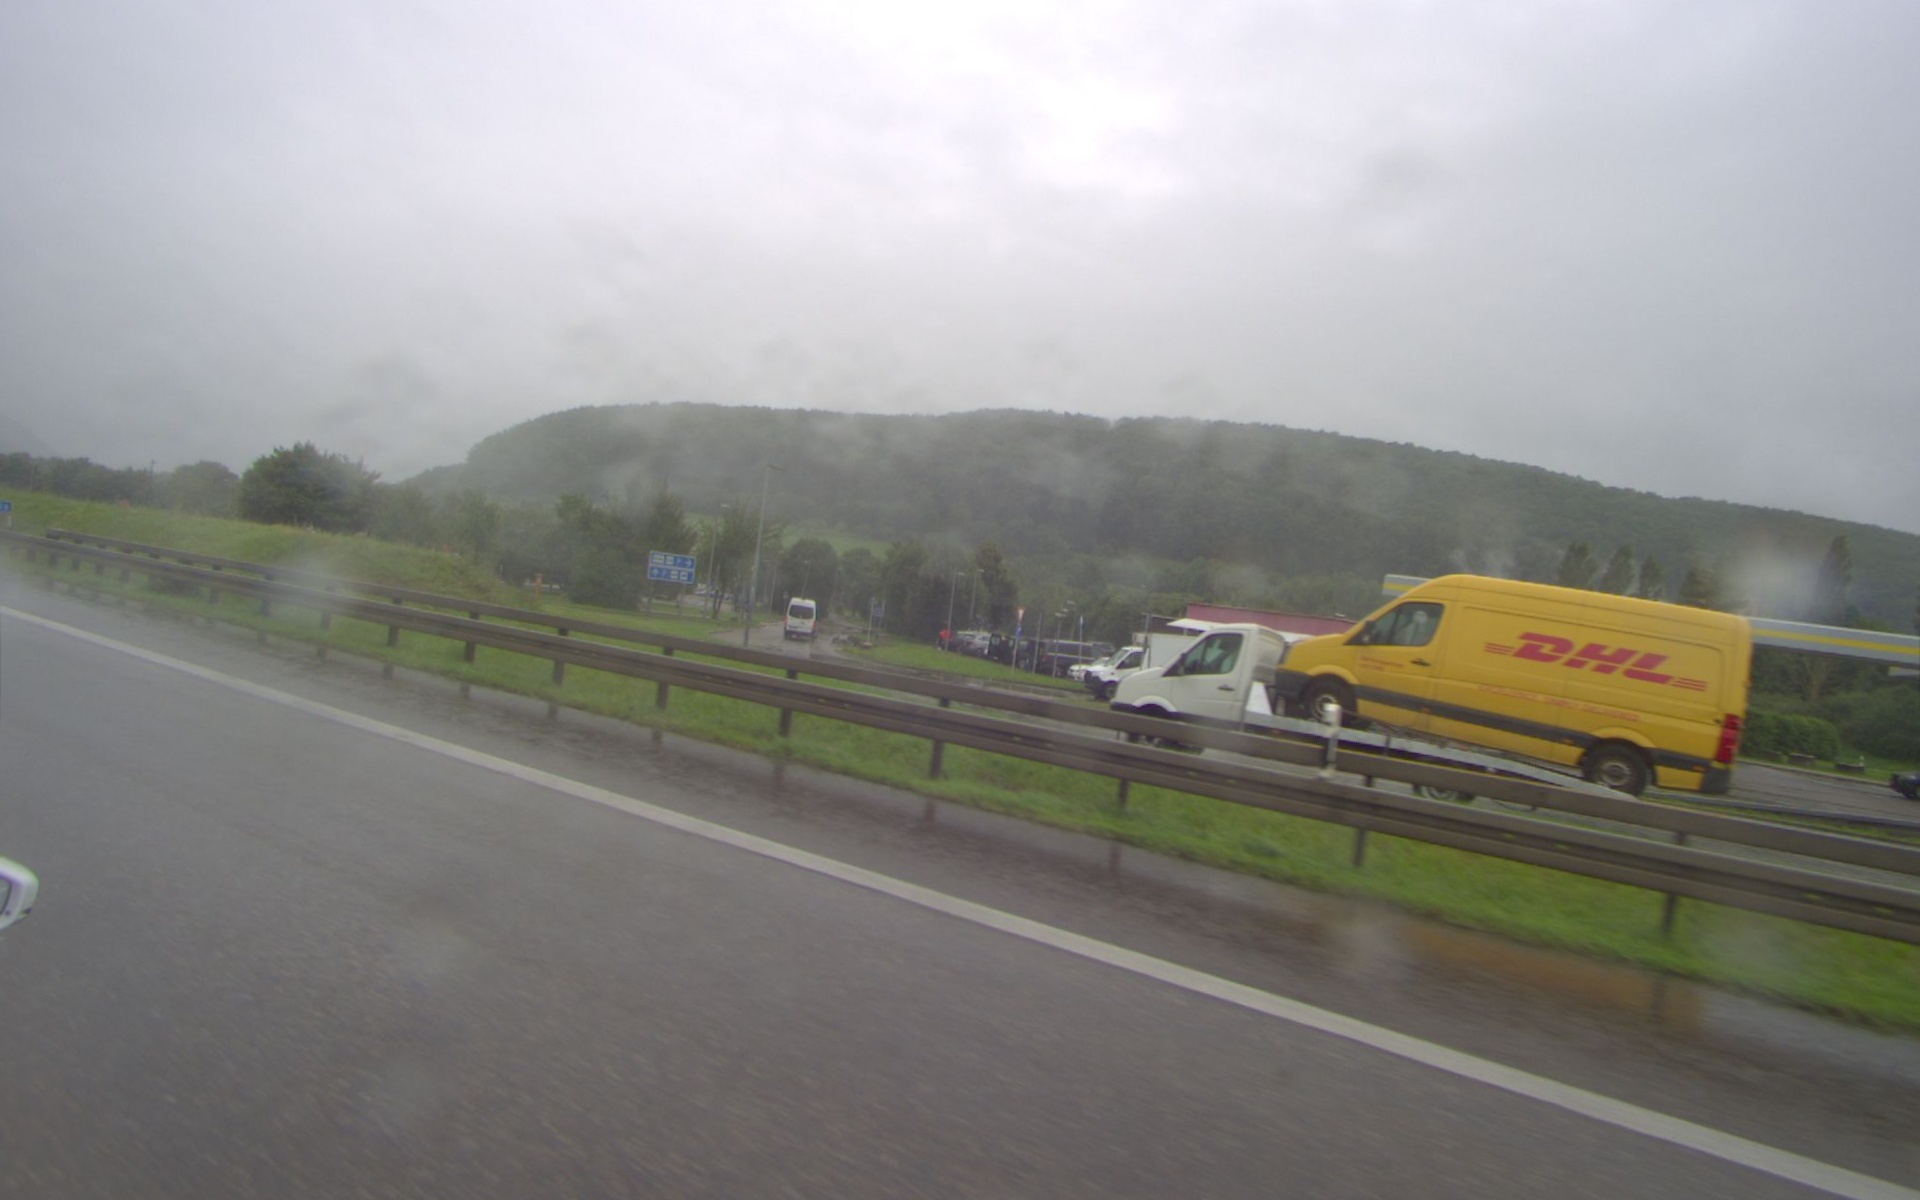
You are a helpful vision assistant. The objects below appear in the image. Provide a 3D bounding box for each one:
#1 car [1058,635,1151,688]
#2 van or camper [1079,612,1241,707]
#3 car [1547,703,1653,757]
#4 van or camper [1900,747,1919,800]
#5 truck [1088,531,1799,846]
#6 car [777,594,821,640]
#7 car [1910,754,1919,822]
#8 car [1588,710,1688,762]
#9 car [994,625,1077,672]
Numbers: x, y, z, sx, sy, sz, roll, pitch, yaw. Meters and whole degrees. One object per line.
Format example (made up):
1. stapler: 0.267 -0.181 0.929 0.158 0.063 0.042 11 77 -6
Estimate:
1. car: 7.216 3.068 50.198 3.940 2.037 1.993 8 -1 -17
2. van or camper: 8.346 2.478 42.235 6.062 3.094 2.000 8 -1 -3
3. car: 32.153 6.489 50.670 3.925 2.036 2.003 7 -2 18
4. van or camper: 40.507 7.241 40.106 3.934 2.037 1.998 7 -2 32
5. truck: 6.503 0.970 14.986 8.721 3.183 2.294 6 -2 34
6. car: -10.597 1.161 66.746 2.373 2.611 6.718 8 -2 -7
7. car: 33.757 6.440 31.863 4.811 2.207 2.085 7 -2 32
8. car: 35.265 7.072 52.452 3.931 2.036 2.000 7 -2 29
9. car: 4.167 2.676 55.911 3.940 2.037 1.993 8 -1 -17
